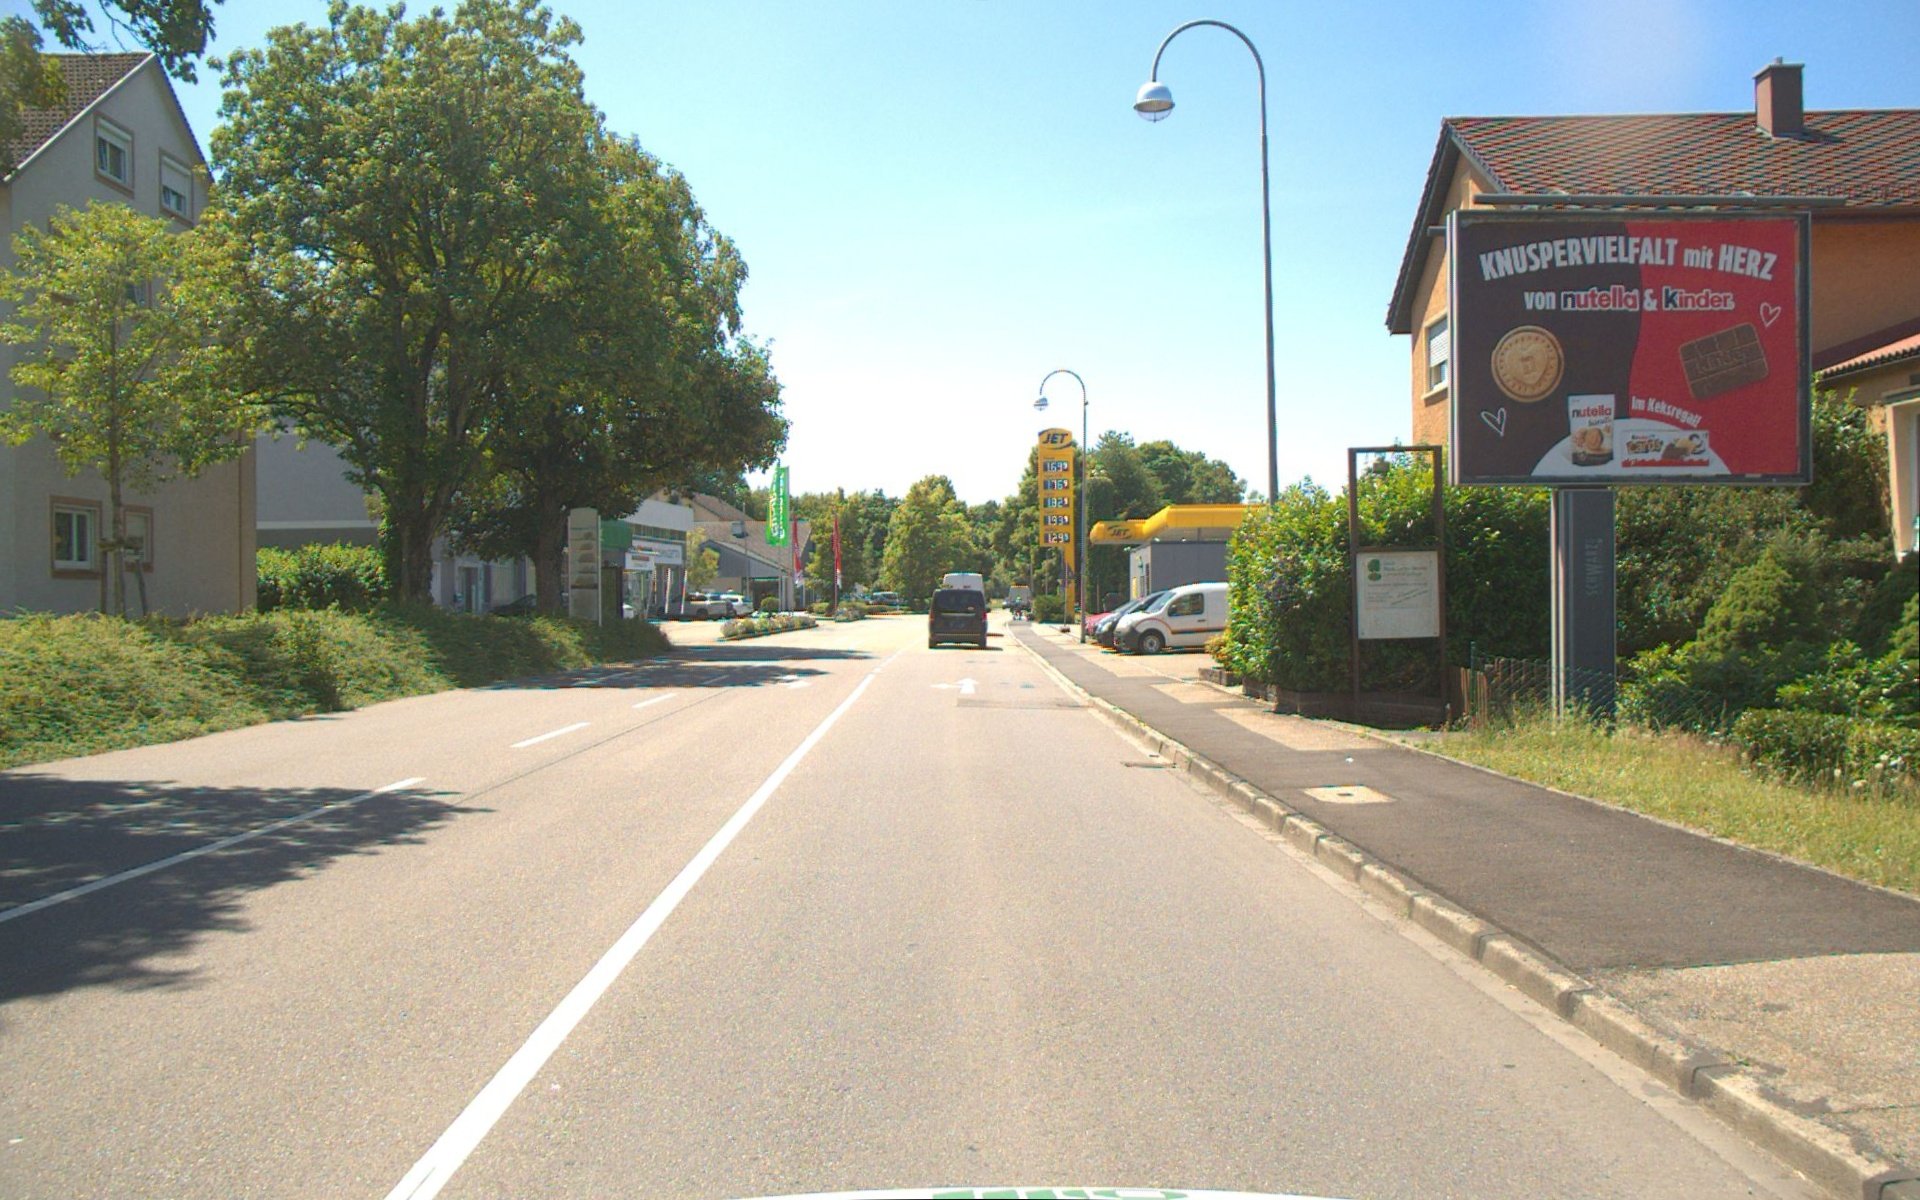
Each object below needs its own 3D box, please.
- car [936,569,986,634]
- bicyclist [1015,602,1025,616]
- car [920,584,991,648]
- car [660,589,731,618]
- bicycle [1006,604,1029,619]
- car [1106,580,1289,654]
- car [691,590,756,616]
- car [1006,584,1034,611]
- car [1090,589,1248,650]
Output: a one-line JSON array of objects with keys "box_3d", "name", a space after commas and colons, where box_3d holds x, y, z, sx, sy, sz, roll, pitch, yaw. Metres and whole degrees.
[{"box_3d": [0.020, 0.000, 72.589, 2.077, 2.724, 5.661, 1, 1, -1], "name": "car"}, {"box_3d": [3.945, 0.594, 108.671, 0.548, 0.868, 0.467, 2, 4, 44], "name": "bicyclist"}, {"box_3d": [-0.184, 0.478, 52.861, 1.954, 1.926, 3.997, 1, 1, -4], "name": "car"}, {"box_3d": [-16.549, 0.211, 103.697, 3.956, 1.735, 1.904, 1, 1, 16], "name": "car"}, {"box_3d": [3.795, 0.727, 108.520, 0.548, 0.902, 1.710, 2, 4, 43], "name": "bicycle"}, {"box_3d": [6.296, 0.422, 44.089, 4.468, 1.746, 1.998, -2, 1, -5], "name": "car"}, {"box_3d": [-15.898, 0.196, 111.449, 3.902, 1.691, 2.002, 1, 1, 9], "name": "car"}, {"box_3d": [6.060, -0.238, 166.727, 2.302, 2.591, 4.960, 1, 1, 9], "name": "car"}, {"box_3d": [5.838, 0.521, 46.440, 4.076, 1.482, 1.905, -2, 1, -6], "name": "car"}]
